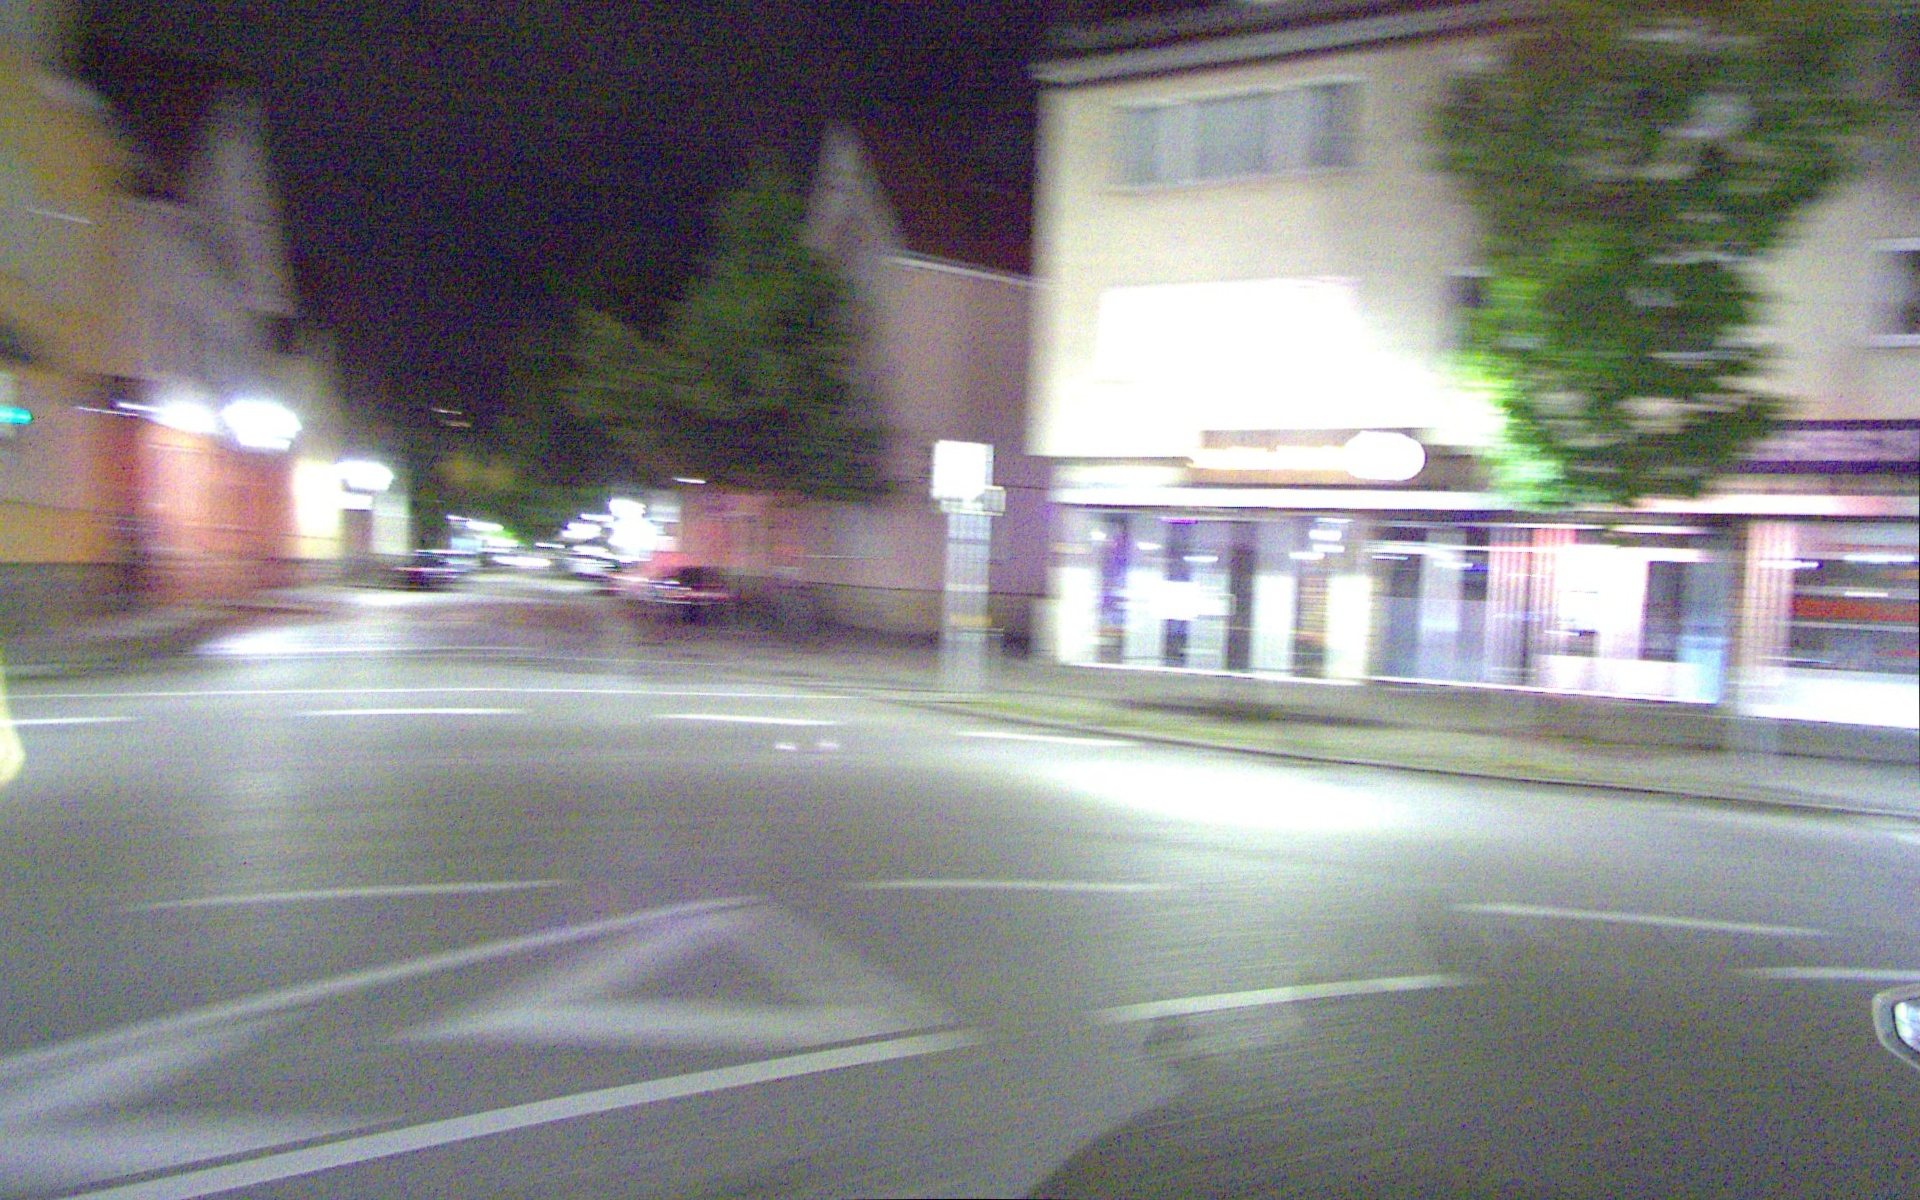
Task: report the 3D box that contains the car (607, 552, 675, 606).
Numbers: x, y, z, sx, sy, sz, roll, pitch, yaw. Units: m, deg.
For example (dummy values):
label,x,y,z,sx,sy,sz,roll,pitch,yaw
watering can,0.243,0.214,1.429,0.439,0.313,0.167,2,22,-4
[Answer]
label,x,y,z,sx,sy,sz,roll,pitch,yaw
car,-12.255,-0.833,38.423,1.903,1.934,4.150,1,2,-25

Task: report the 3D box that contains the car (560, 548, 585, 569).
label,x,y,z,sx,sy,sz,roll,pitch,yaw
car,-36.488,-3.911,94.532,1.903,1.934,4.150,1,2,-25

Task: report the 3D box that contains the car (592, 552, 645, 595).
label,x,y,z,sx,sy,sz,roll,pitch,yaw
car,-16.375,-1.265,48.028,1.903,1.934,4.150,1,2,-25

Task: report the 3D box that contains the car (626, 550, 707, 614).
label,x,y,z,sx,sy,sz,roll,pitch,yaw
car,-9.649,-0.608,32.816,1.903,1.934,4.150,1,2,-25

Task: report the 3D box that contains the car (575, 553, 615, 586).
label,x,y,z,sx,sy,sz,roll,pitch,yaw
car,-22.265,-1.863,61.218,1.903,1.934,4.150,1,2,-25

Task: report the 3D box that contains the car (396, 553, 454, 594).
label,x,y,z,sx,sy,sz,roll,pitch,yaw
car,-21.452,-1.079,40.377,1.710,1.539,3.976,1,2,-23

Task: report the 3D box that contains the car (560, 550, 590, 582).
label,x,y,z,sx,sy,sz,roll,pitch,yaw
car,-30.709,-2.713,80.085,1.903,2.383,4.150,1,2,-25

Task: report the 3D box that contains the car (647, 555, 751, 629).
label,x,y,z,sx,sy,sz,roll,pitch,yaw
car,-6.936,-0.259,26.426,1.903,1.773,4.150,1,2,-25

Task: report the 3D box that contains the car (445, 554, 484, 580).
label,x,y,z,sx,sy,sz,roll,pitch,yaw
car,-31.391,-2.126,63.712,1.972,1.539,3.976,1,2,-23

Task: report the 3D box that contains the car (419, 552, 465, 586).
label,x,y,z,sx,sy,sz,roll,pitch,yaw
car,-25.303,-1.528,49.177,1.688,1.539,3.976,1,2,-23
